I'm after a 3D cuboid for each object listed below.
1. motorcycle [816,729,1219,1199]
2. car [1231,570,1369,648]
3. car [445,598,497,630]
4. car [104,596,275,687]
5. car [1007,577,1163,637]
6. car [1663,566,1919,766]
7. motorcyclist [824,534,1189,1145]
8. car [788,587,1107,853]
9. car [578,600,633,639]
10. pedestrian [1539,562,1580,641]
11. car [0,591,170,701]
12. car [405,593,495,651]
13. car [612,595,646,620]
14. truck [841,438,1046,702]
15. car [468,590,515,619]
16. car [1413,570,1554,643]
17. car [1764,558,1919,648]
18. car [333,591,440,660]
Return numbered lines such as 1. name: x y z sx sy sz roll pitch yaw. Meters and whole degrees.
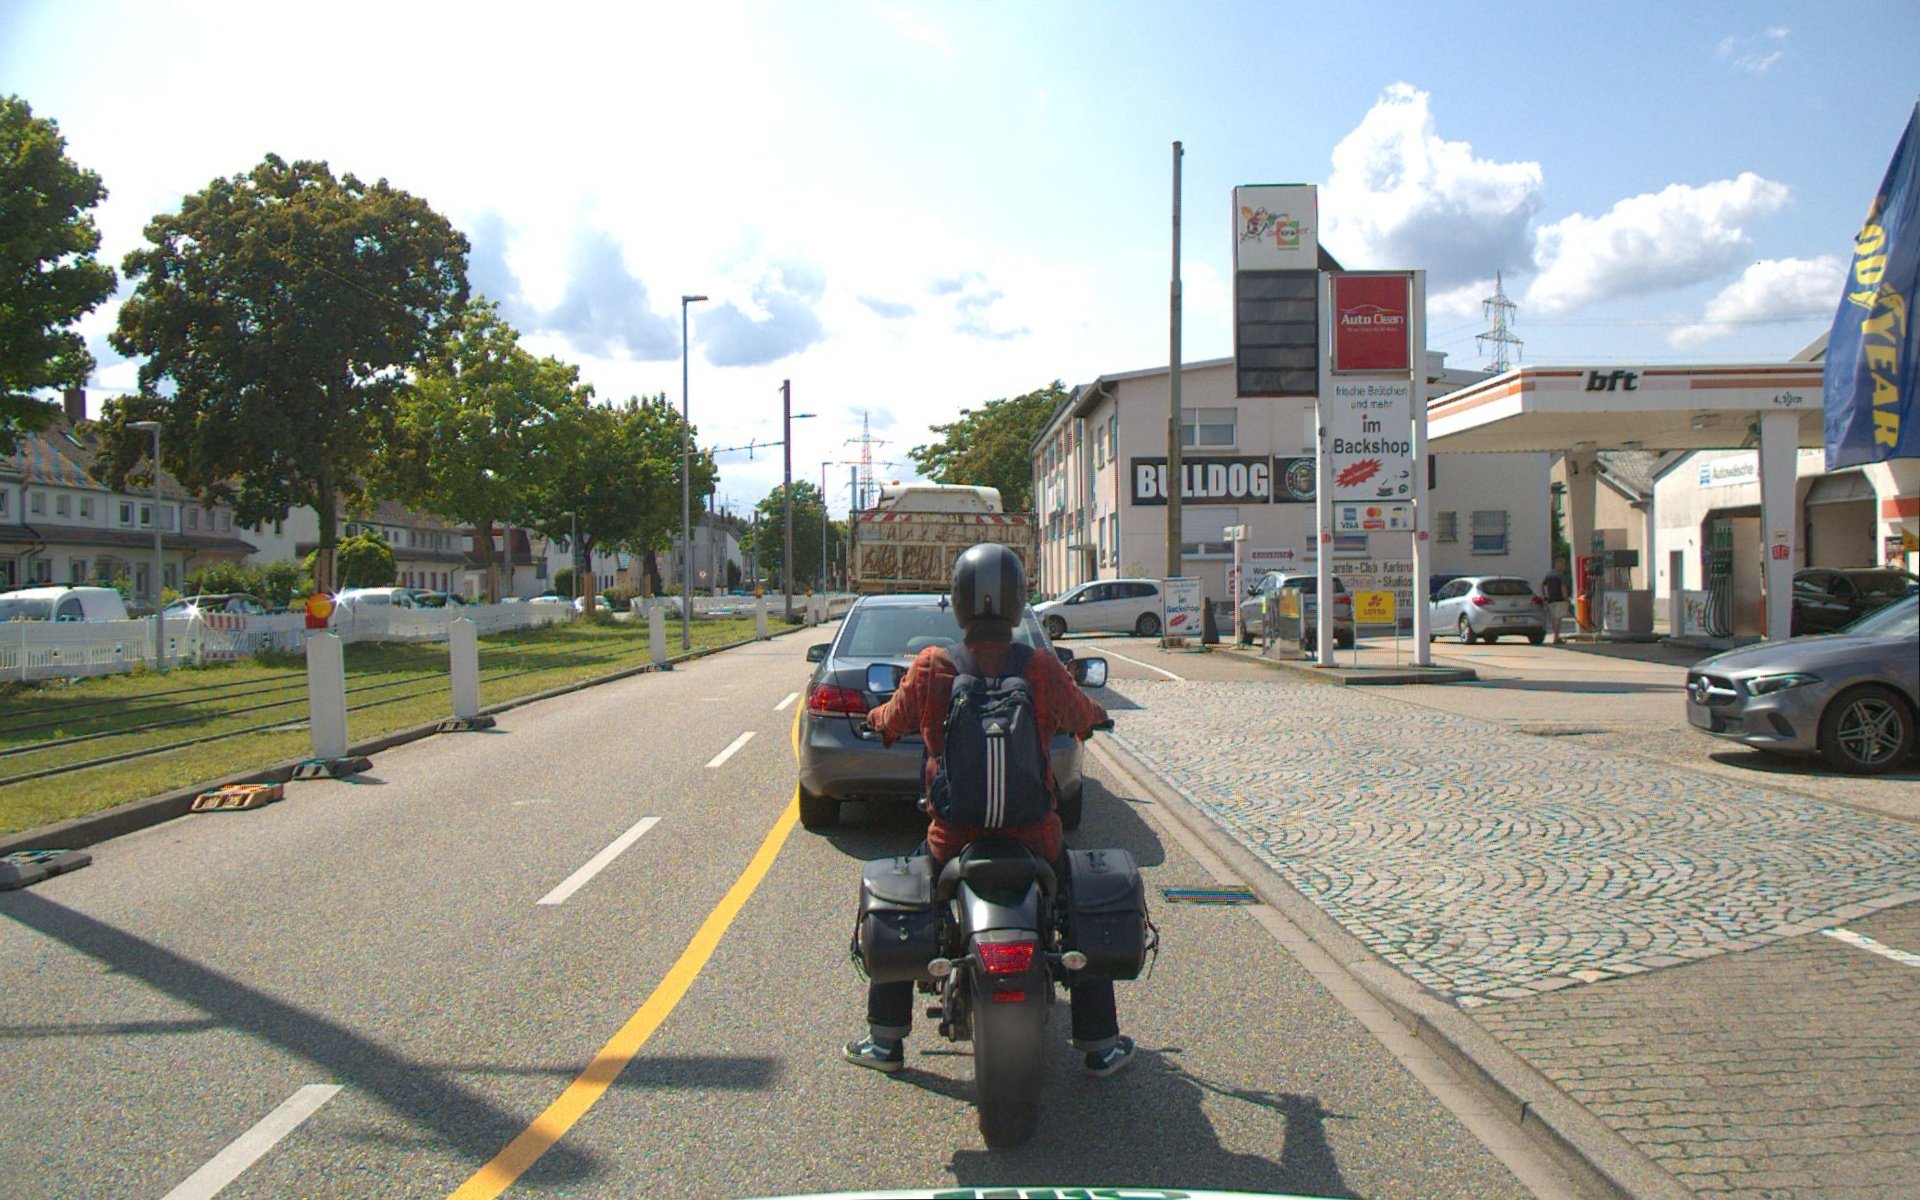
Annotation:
1. motorcycle: 0.121 0.995 5.321 0.959 0.913 2.653 -1 0 -1
2. car: 7.456 0.174 36.628 1.636 1.589 4.236 -1 0 -8
3. car: -28.300 0.774 95.833 1.740 1.753 4.127 -1 0 -1
4. car: -16.675 0.838 36.024 1.740 1.805 4.227 -1 0 -1
5. car: 3.546 0.182 47.136 4.152 1.570 1.669 -1 0 -9
6. car: 7.886 0.448 12.787 4.183 1.440 1.675 -1 0 4
7. motorcyclist: 0.119 0.641 5.015 0.959 1.630 1.087 -1 0 -1
8. car: -0.098 0.667 11.384 1.786 1.478 3.999 1 0 -1
9. car: -17.056 0.906 79.683 1.740 1.753 4.127 -1 0 -1
10. pedestrian: 12.951 0.029 35.710 0.696 1.685 0.546 -1 0 35
11. car: -16.428 0.781 30.387 1.740 1.853 4.363 -1 0 -1
12. car: -16.974 0.696 55.259 1.740 1.837 4.127 -1 0 -1
13. car: -24.964 0.543 124.850 1.740 1.753 4.127 -1 0 -1
14. truck: -0.265 -0.425 25.363 2.585 3.354 8.055 -1 0 -1
15. car: -29.426 0.271 103.950 1.740 1.753 4.127 -1 0 -1
16. car: 11.720 0.118 37.263 1.770 1.529 3.831 -1 0 -3
17. car: 16.616 0.024 30.318 1.770 1.529 3.832 -1 0 -3
18. car: -16.942 0.712 49.080 1.740 1.900 4.127 -1 0 -1
